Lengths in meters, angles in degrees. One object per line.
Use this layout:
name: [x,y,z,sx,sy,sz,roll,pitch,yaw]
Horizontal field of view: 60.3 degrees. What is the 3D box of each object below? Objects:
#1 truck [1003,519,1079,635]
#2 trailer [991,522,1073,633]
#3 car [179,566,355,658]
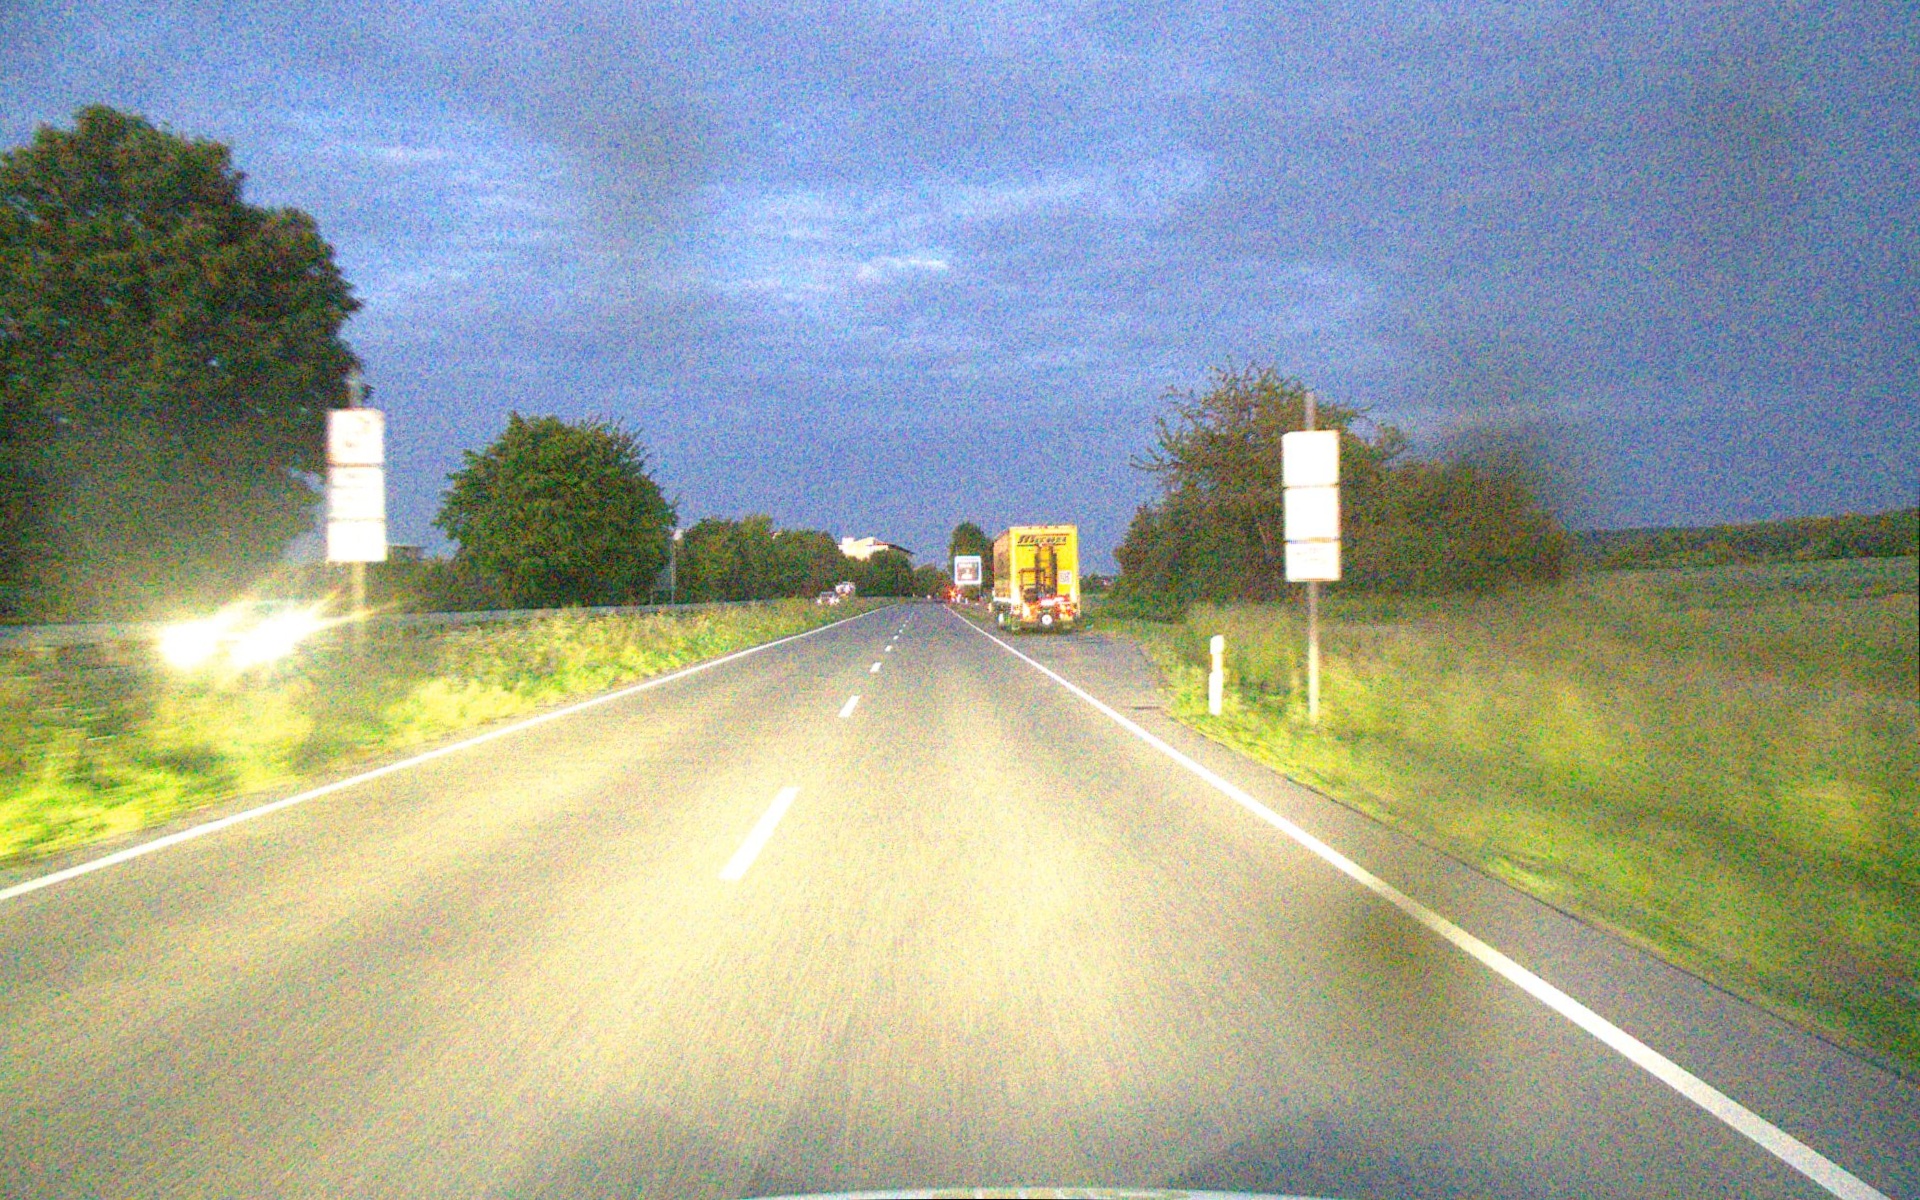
truck: [2.998,-0.864,62.666,2.527,4.142,6.129,1,1,0]
trailer: [2.856,-0.878,69.579,2.569,4.175,12.934,-1,0,-1]
car: [-12.483,0.199,30.050,1.621,1.531,3.998,1,0,-2]
